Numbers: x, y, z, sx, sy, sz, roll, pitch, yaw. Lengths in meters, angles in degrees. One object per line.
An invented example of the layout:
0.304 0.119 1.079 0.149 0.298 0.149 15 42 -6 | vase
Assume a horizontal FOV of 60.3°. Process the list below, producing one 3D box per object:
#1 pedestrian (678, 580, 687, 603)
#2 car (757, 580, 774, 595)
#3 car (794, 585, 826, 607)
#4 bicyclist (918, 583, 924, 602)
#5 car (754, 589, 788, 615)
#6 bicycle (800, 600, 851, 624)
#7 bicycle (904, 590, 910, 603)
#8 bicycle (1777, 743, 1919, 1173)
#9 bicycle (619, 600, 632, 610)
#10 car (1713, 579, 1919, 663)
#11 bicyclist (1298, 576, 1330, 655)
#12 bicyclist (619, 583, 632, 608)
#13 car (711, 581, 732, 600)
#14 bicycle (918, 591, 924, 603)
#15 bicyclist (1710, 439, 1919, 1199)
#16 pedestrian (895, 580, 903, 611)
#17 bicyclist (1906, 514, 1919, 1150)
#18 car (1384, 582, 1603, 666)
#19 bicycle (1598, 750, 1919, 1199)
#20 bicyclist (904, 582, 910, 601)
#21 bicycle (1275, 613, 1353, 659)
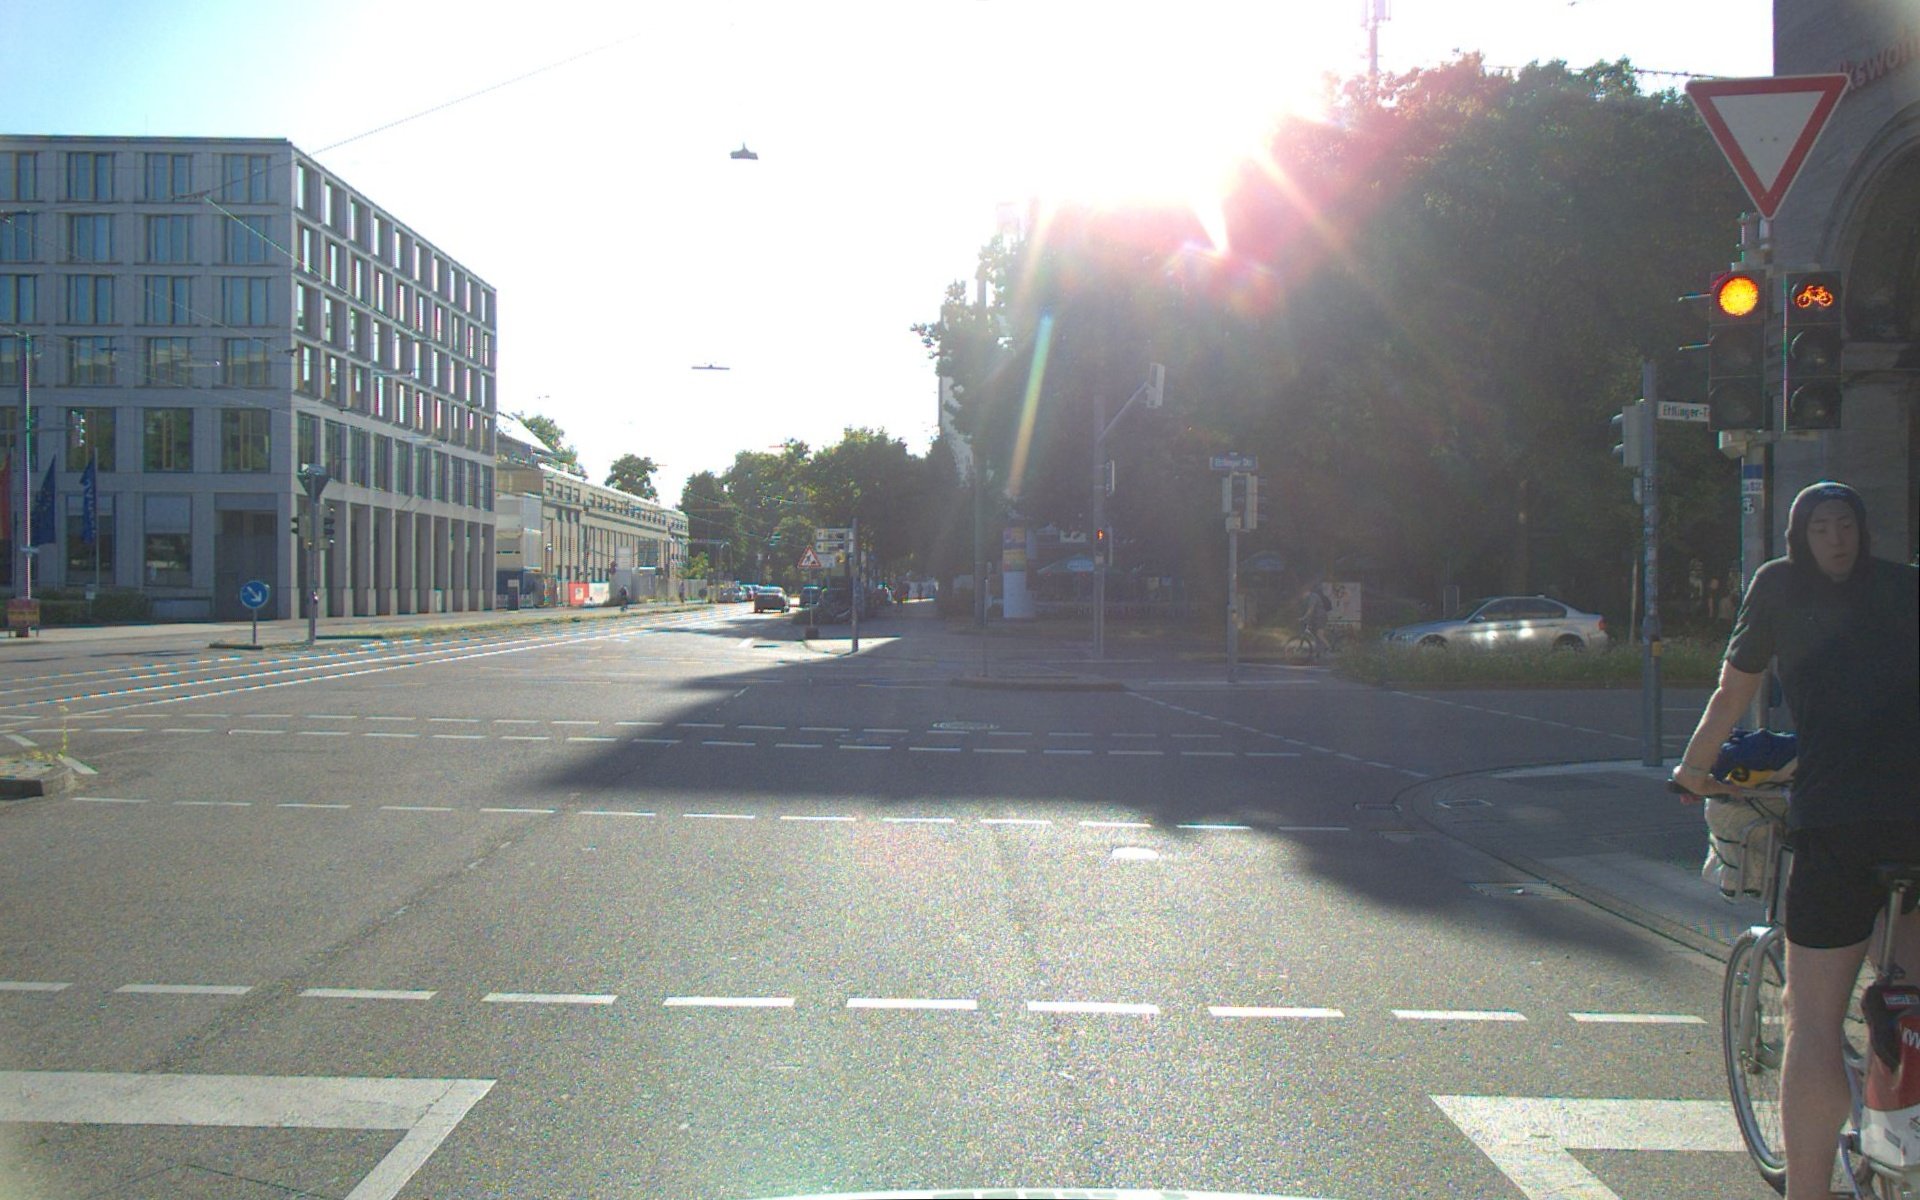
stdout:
-25.077 -0.773 149.413 0.660 2.049 0.751 1 -1 -3 | pedestrian
-22.837 -1.442 194.358 1.659 1.748 4.244 1 0 -4 | car
-11.797 -0.345 130.387 1.853 1.592 4.808 3 1 1 | car
-3.574 -0.712 151.211 0.558 1.721 0.699 0 0 -1 | bicyclist
-11.074 0.109 97.063 1.626 1.481 4.431 1 0 -2 | car
-5.486 0.507 67.381 1.976 0.907 0.650 -2 -1 27 | bicycle
-4.856 -0.321 151.017 0.563 1.096 1.830 0 0 -1 | bicycle
2.865 1.004 4.336 0.523 1.096 1.750 1 0 -2 | bicycle
-18.930 0.291 93.552 0.491 0.524 1.257 1 0 -2 | bicycle
17.537 0.407 33.550 3.770 1.639 1.650 0 0 -1 | car
7.800 0.338 36.446 0.630 1.712 0.507 0 0 5 | bicyclist
-18.932 -0.256 93.572 0.584 1.401 0.637 1 -1 -2 | bicyclist
-22.476 -0.903 156.109 1.659 1.748 4.244 1 0 -4 | car
-3.565 -0.298 151.214 0.563 1.096 1.830 0 0 -1 | bicycle
2.096 0.582 3.730 0.547 1.830 0.550 1 0 1 | bicyclist
-3.587 -0.253 97.650 0.454 1.845 0.502 0 0 -5 | pedestrian
2.889 0.631 4.228 0.546 1.721 0.640 1 0 -2 | bicyclist
10.775 0.478 33.561 3.912 1.639 1.650 0 0 -1 | car
2.077 0.985 3.888 0.505 1.096 1.728 1 0 1 | bicycle
-4.866 -0.804 151.045 0.558 1.721 0.699 0 0 -1 | bicyclist
7.798 0.789 36.456 1.631 0.980 0.534 0 0 5 | bicycle
